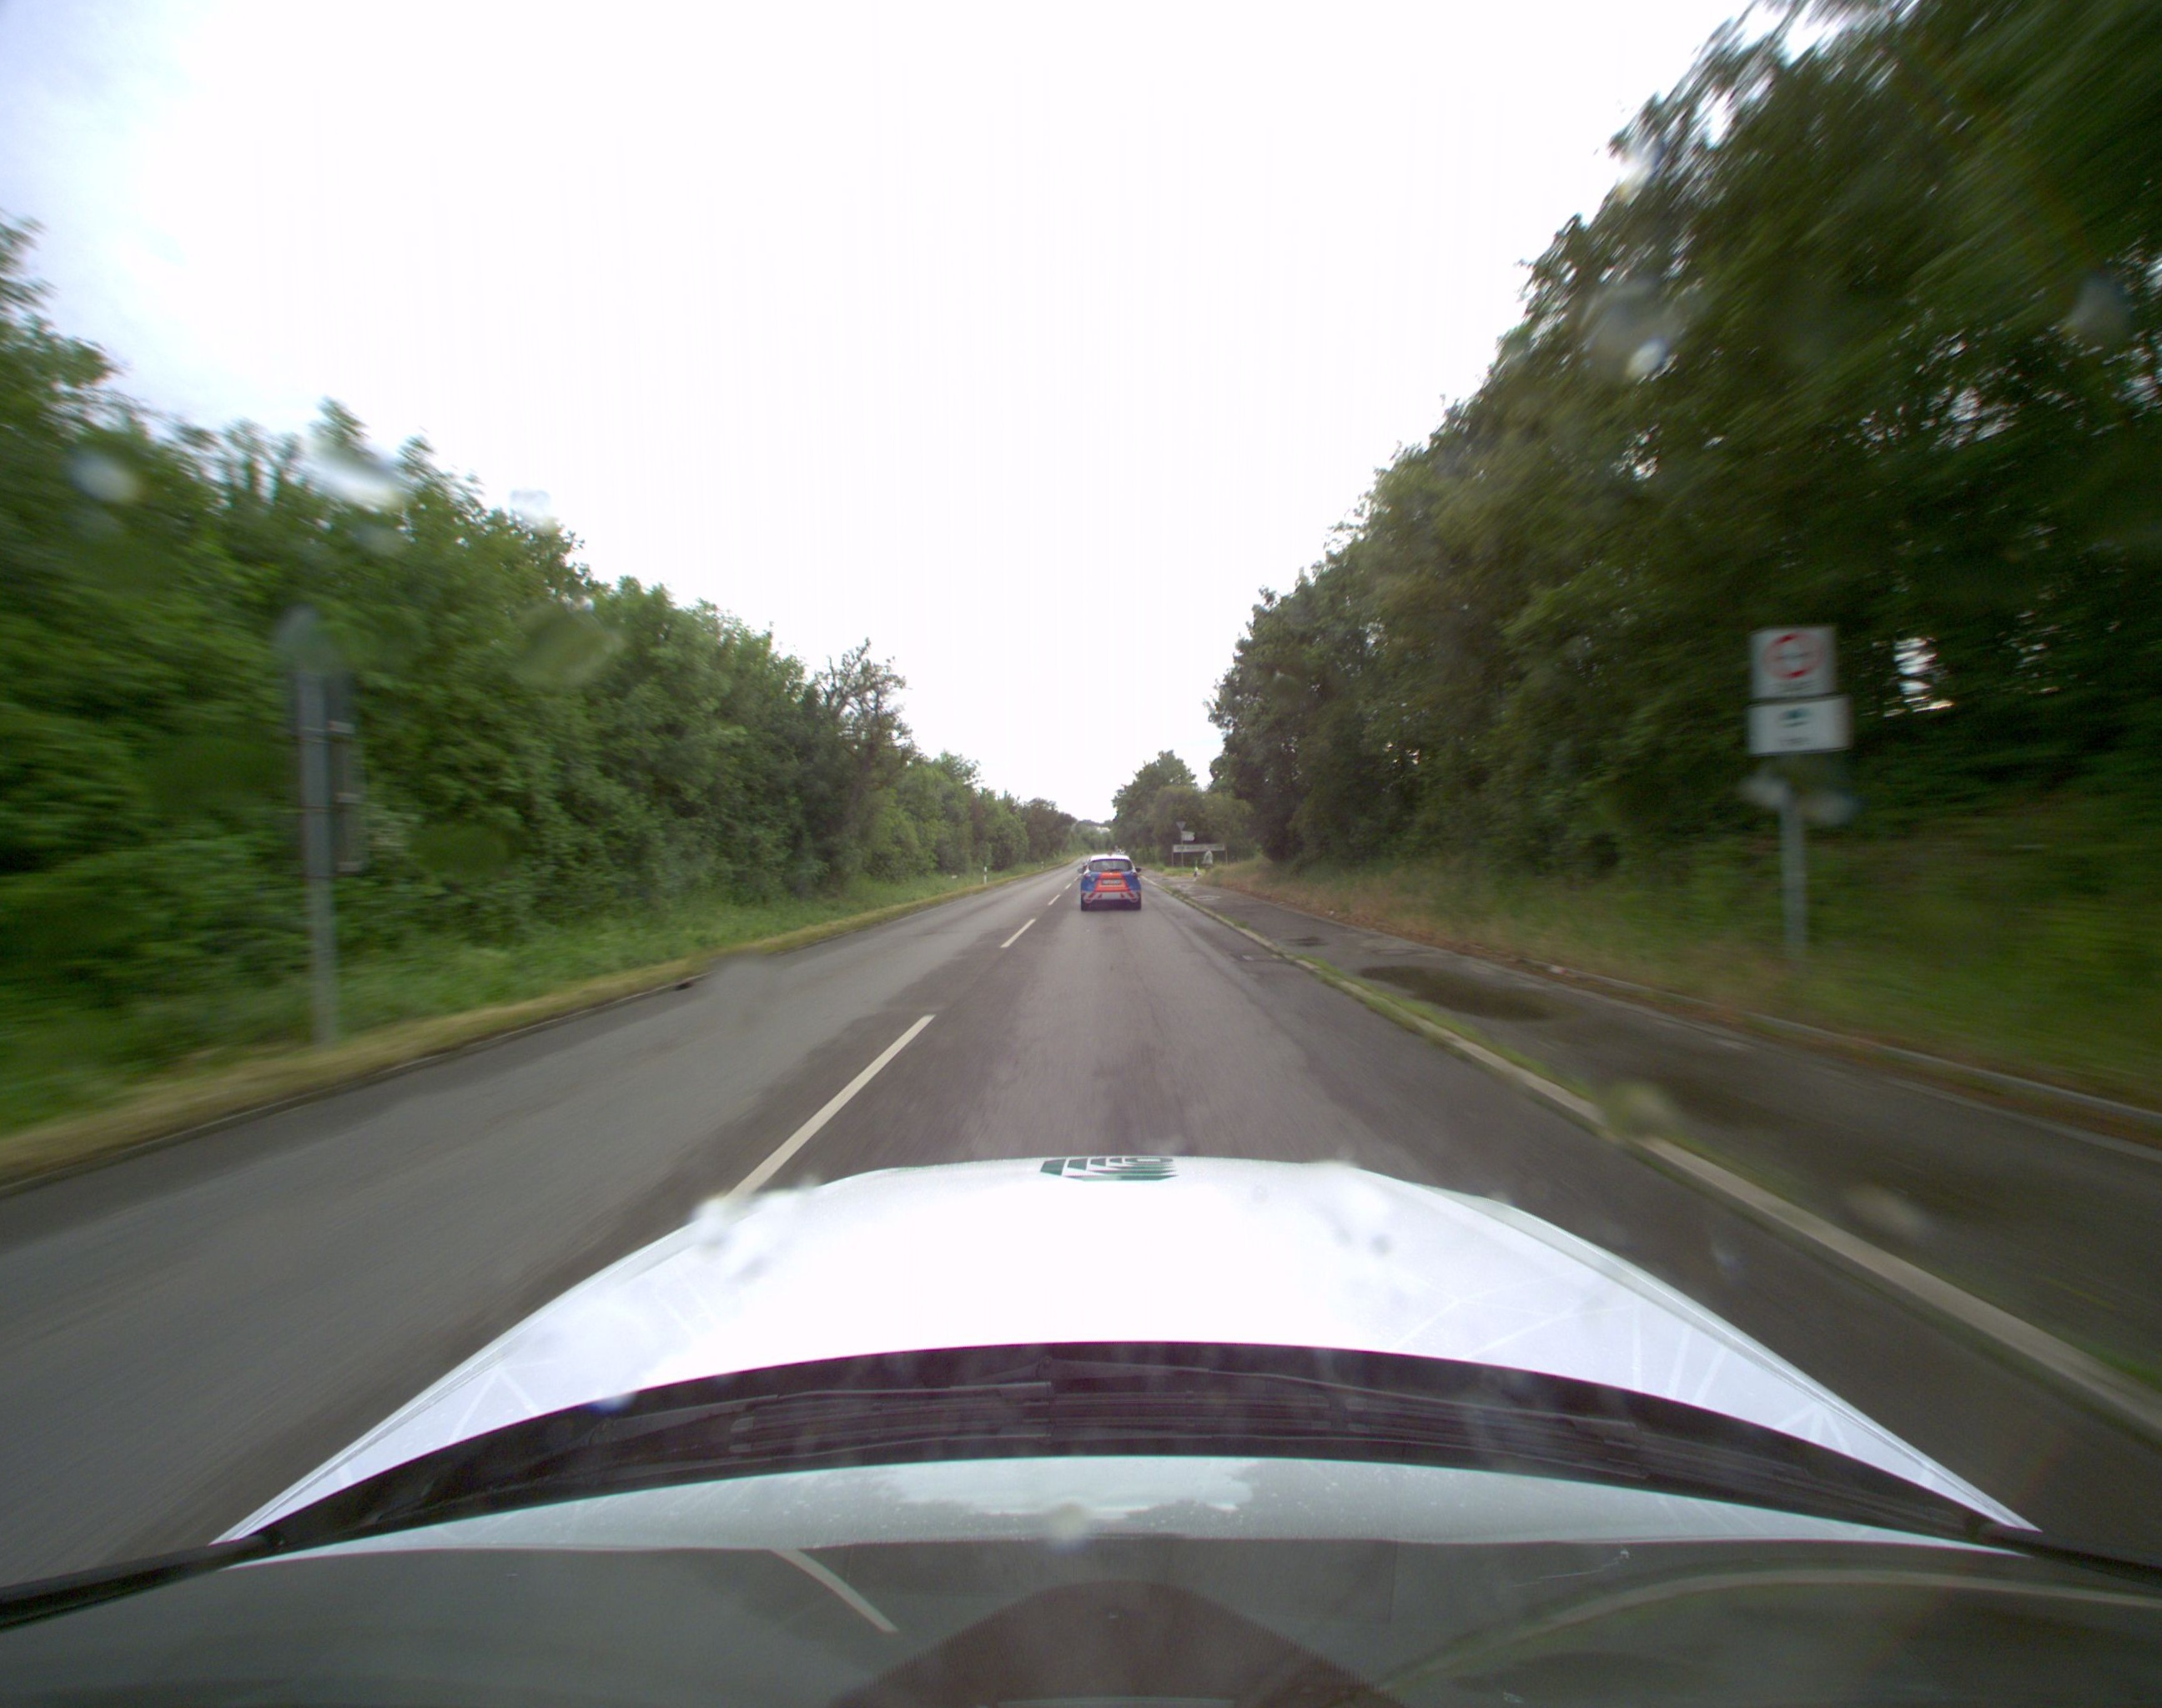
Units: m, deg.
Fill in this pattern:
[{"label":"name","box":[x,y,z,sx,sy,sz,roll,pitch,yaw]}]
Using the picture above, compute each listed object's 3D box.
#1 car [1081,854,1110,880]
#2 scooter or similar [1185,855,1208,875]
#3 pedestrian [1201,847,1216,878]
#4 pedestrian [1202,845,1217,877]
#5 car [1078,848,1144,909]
[{"label":"car","box":[0.958,0.814,51.949,1.687,1.595,3.859,0,0,3]},{"label":"scooter or similar","box":[7.092,0.700,50.026,1.310,1.206,0.376,-3,-1,42]},{"label":"pedestrian","box":[7.388,0.500,47.169,0.658,1.778,0.760,-2,-1,1]},{"label":"pedestrian","box":[7.585,0.408,47.960,0.690,1.827,0.801,-2,-1,1]},{"label":"car","box":[0.859,0.673,24.157,1.799,1.668,3.856,0,0,1]}]
